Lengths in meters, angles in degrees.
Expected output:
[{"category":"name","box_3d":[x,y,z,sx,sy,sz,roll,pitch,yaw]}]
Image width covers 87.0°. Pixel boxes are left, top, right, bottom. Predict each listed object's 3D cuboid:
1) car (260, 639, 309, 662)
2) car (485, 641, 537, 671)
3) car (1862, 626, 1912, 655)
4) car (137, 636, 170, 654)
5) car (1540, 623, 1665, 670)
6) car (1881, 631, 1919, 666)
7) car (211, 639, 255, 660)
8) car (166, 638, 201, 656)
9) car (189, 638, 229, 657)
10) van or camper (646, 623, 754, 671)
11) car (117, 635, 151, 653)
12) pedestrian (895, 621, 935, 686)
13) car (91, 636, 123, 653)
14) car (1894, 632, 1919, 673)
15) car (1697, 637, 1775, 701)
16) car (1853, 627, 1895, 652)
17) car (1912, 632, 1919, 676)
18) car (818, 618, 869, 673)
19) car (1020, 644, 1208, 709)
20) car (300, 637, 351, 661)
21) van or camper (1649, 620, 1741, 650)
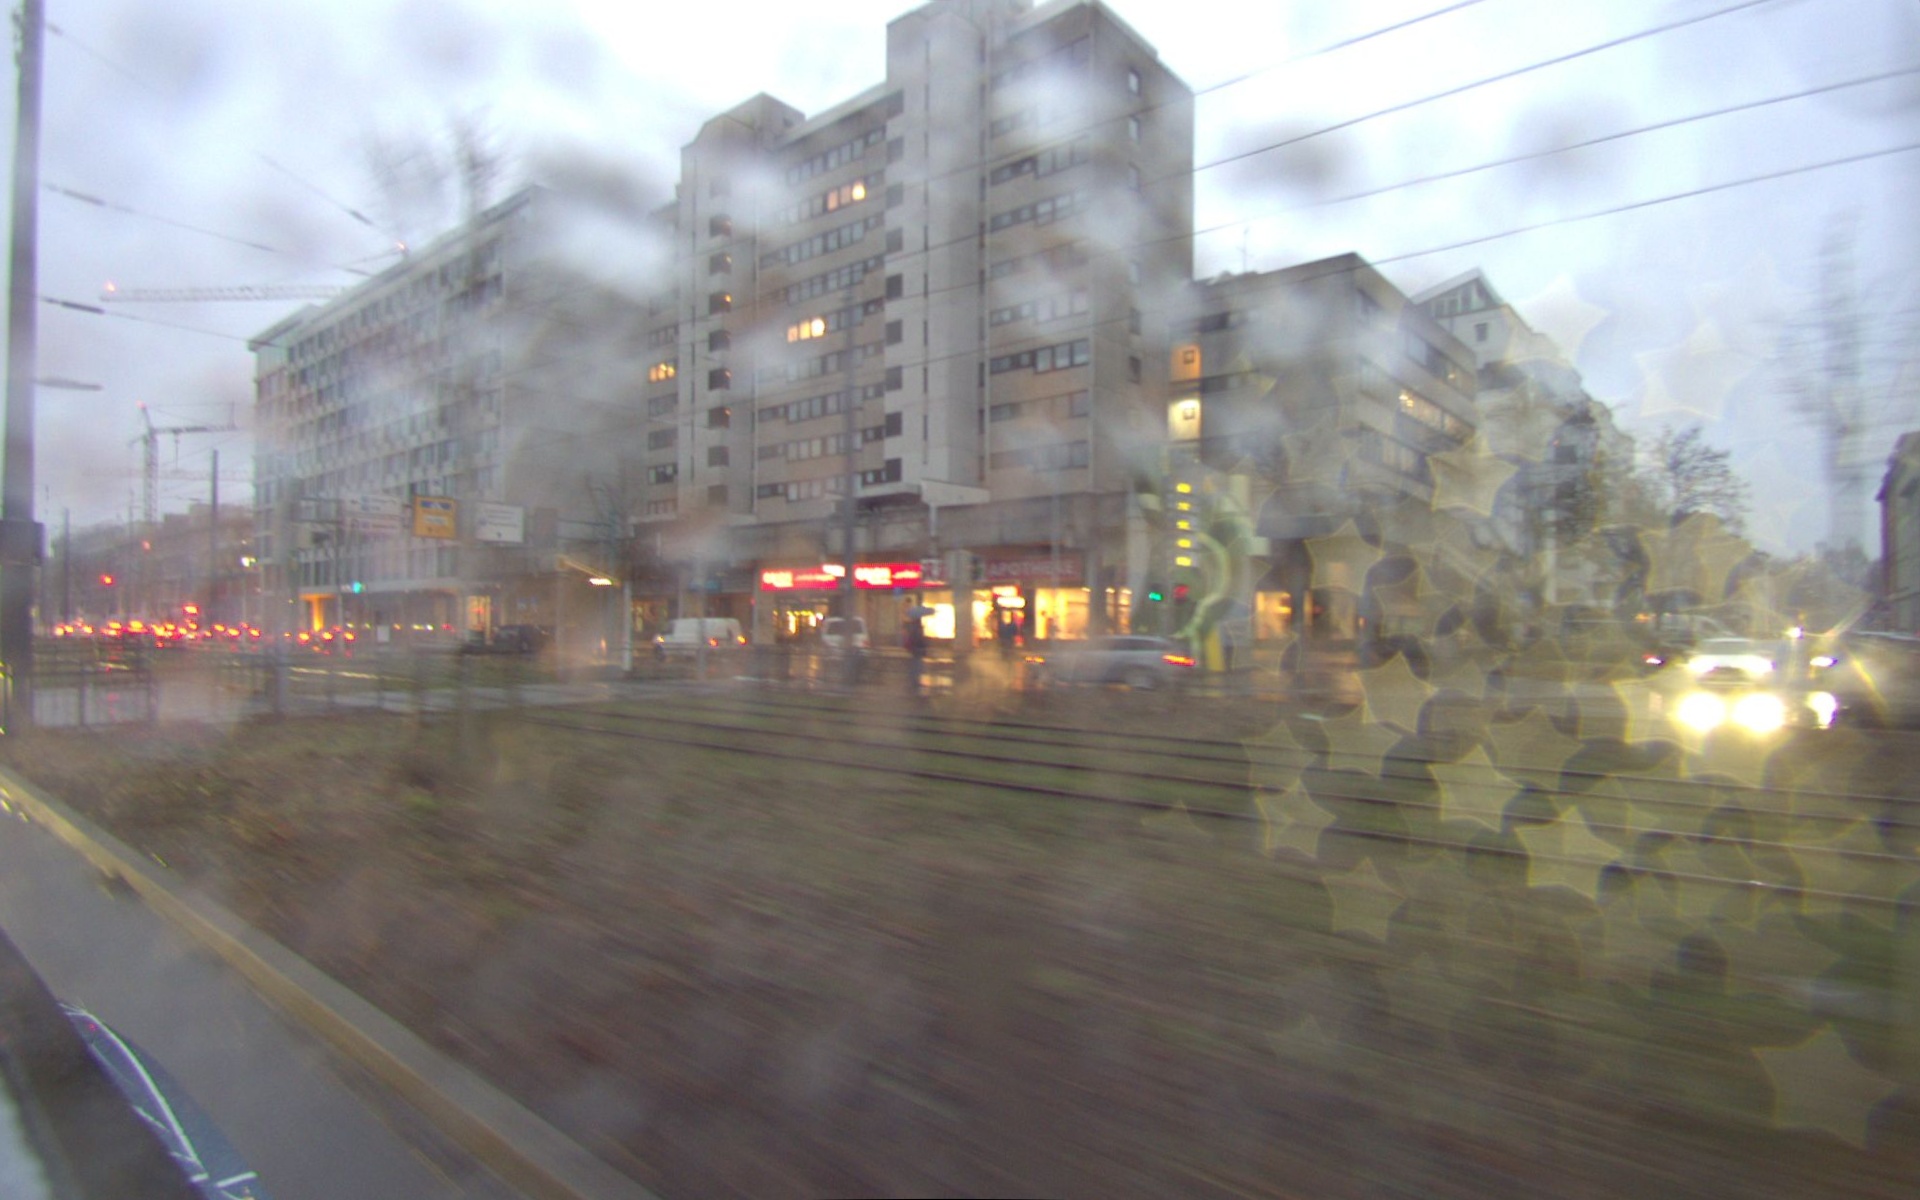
[{"category":"car","box_3d":[-46.996,3.506,70.389,3.887,1.523,1.732,-1,-1,39]},{"category":"car","box_3d":[-26.835,3.337,60.638,1.656,1.630,3.781,0,-1,-4]},{"category":"car","box_3d":[51.825,2.249,56.633,1.756,1.564,3.788,-1,-2,39]},{"category":"car","box_3d":[-72.666,4.047,91.174,3.869,1.460,1.576,-1,-1,39]},{"category":"car","box_3d":[22.963,1.622,36.235,3.635,1.613,1.601,-1,-2,39]},{"category":"car","box_3d":[45.297,2.291,48.285,1.756,1.564,3.788,-1,-2,39]},{"category":"car","box_3d":[-55.304,3.766,76.971,3.869,1.460,1.732,-1,-1,39]},{"category":"car","box_3d":[-66.915,4.035,87.230,3.869,1.460,1.576,-1,-1,39]},{"category":"car","box_3d":[-60.882,3.855,81.997,3.869,1.460,1.732,-1,-1,39]},{"category":"van or camper","box_3d":[-12.080,2.139,46.716,5.650,2.113,1.973,-2,-2,41]},{"category":"car","box_3d":[-71.406,3.759,87.467,3.869,1.460,1.576,-1,-1,39]},{"category":"pedestrian","box_3d":[-1.064,1.265,24.154,0.629,1.501,0.784,-1,-2,33]},{"category":"car","box_3d":[-77.673,4.045,92.130,3.869,1.460,1.576,-1,-1,39]},{"category":"car","box_3d":[38.378,2.054,40.048,1.756,1.564,3.788,-1,-2,39]},{"category":"car","box_3d":[22.630,1.951,29.572,1.683,1.523,3.950,-1,0,37]},{"category":"car","box_3d":[59.970,2.552,66.457,1.756,1.564,3.788,-1,-2,39]},{"category":"car","box_3d":[35.114,1.936,35.796,1.756,1.564,3.788,-1,-2,39]},{"category":"car","box_3d":[-4.849,1.809,41.870,1.969,2.029,4.580,-1,0,-7]},{"category":"car","box_3d":[4.169,2.026,27.632,4.688,1.557,1.978,-1,-1,32]},{"category":"car","box_3d":[-40.272,3.091,64.231,3.763,1.460,1.656,-1,-2,39]},{"category":"van or camper","box_3d":[57.109,2.686,78.689,5.631,2.260,1.972,-2,-2,42]}]
